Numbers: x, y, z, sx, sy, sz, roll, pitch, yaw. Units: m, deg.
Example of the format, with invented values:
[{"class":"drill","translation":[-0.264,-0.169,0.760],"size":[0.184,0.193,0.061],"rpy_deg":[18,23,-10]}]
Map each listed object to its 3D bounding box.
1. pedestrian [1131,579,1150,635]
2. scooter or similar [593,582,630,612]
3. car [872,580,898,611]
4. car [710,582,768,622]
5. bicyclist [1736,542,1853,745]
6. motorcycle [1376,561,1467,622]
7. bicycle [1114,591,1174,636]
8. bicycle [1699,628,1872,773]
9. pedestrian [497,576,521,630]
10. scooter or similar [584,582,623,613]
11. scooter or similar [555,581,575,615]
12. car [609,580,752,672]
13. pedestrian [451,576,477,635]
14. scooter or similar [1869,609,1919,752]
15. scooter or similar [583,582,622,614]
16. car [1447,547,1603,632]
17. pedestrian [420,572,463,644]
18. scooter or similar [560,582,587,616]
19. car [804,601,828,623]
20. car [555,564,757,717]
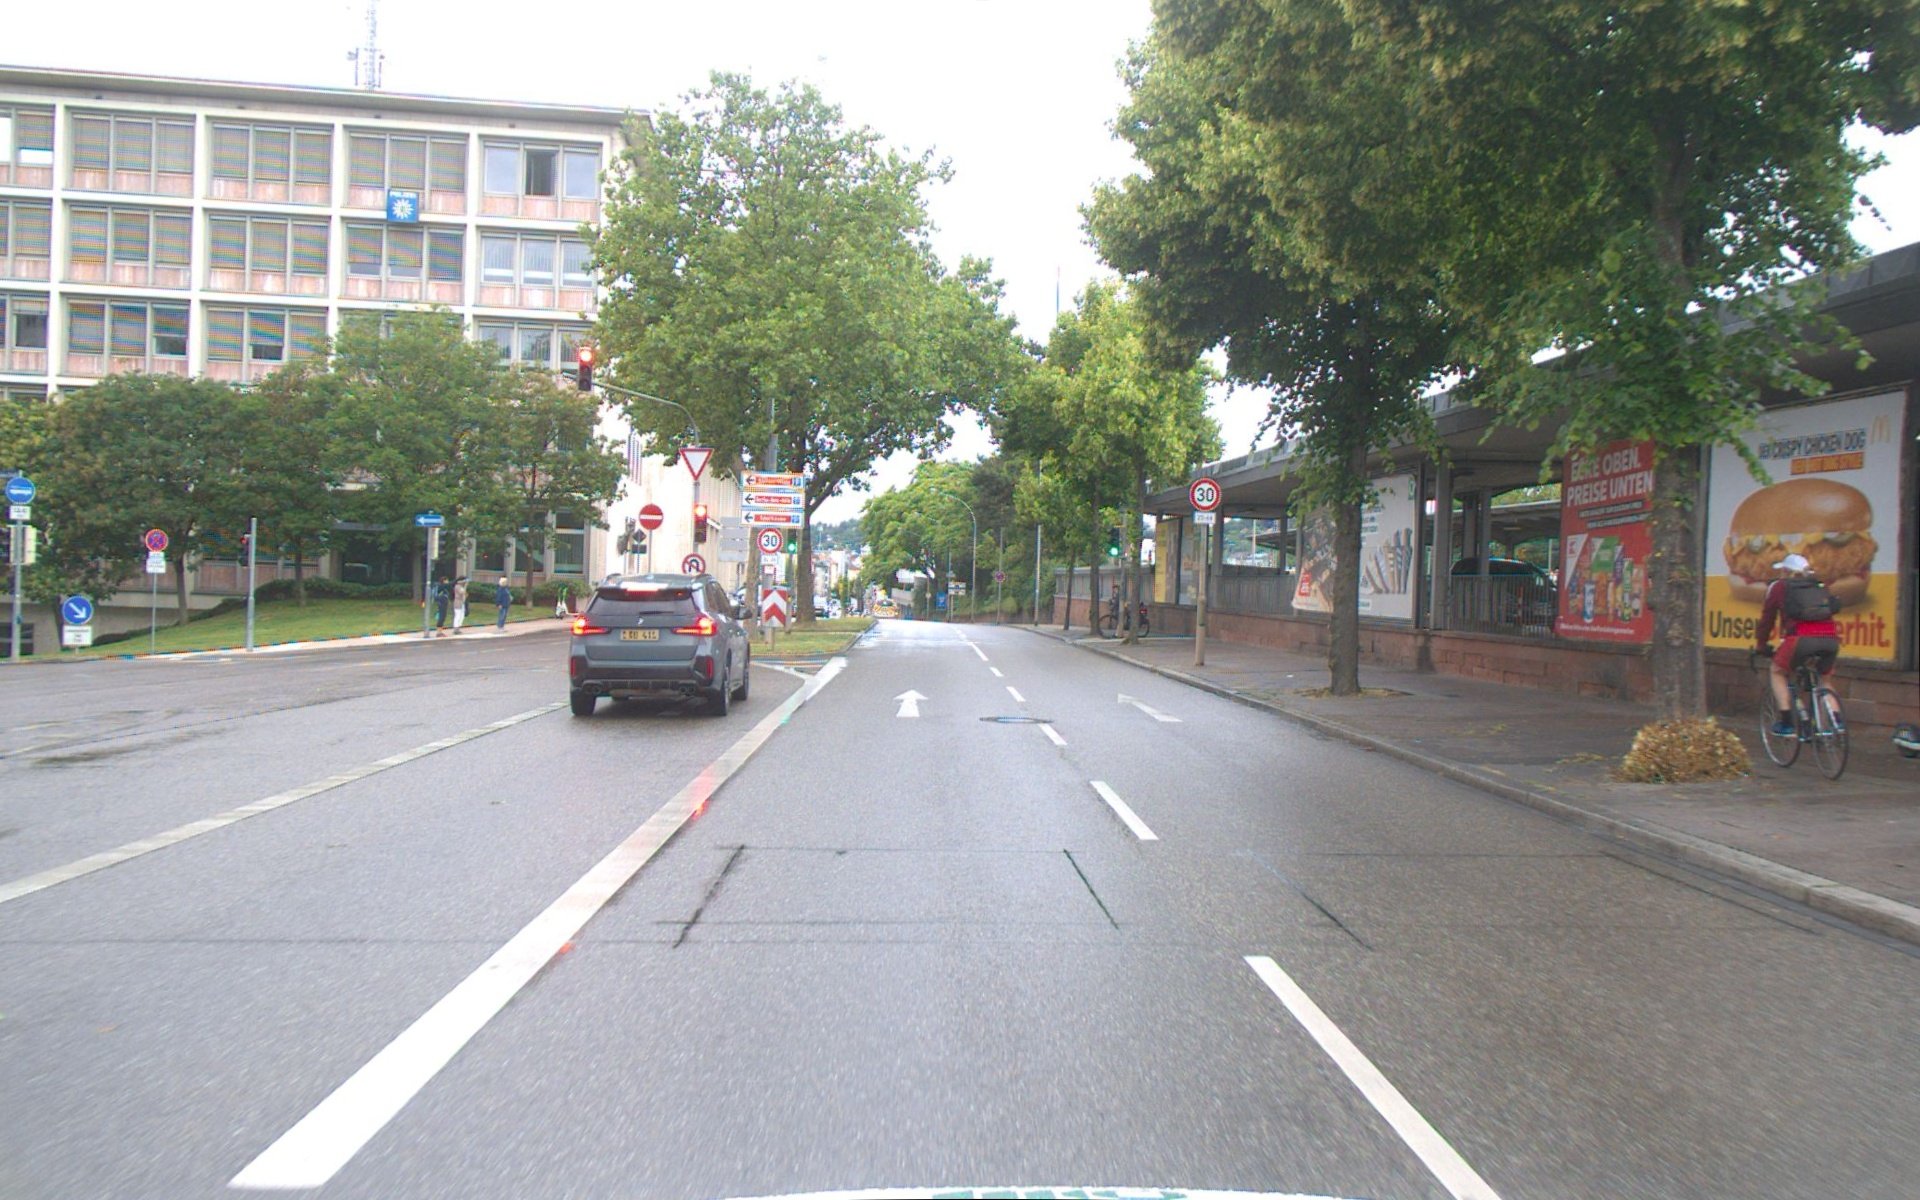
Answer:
[{"class":"pedestrian","translation":[5.206,0.203,47.706],"size":[0.448,1.596,0.392],"rpy_deg":[0,0,30]},{"class":"scooter or similar","translation":[-13.988,-0.126,66.386],"size":[0.596,1.184,1.525],"rpy_deg":[1,0,31]},{"class":"car","translation":[-6.733,-0.394,147.956],"size":[2.219,2.703,3.997],"rpy_deg":[0,1,-4]},{"class":"car","translation":[-9.477,0.116,71.210],"size":[1.804,1.534,4.102],"rpy_deg":[4,-1,0]},{"class":"bicyclist","translation":[6.615,0.332,13.133],"size":[0.523,1.565,0.694],"rpy_deg":[-1,0,-5]},{"class":"motorcycle","translation":[12.839,-0.245,46.045],"size":[2.294,1.638,0.693],"rpy_deg":[1,0,-3]},{"class":"bicycle","translation":[5.354,0.373,48.132],"size":[1.688,1.270,0.485],"rpy_deg":[1,1,30]},{"class":"bicycle","translation":[6.587,0.770,13.286],"size":[0.437,1.034,1.676],"rpy_deg":[-2,1,-4]},{"class":"pedestrian","translation":[-13.662,0.079,50.131],"size":[0.642,1.631,0.922],"rpy_deg":[0,0,-13]},{"class":"scooter or similar","translation":[-14.019,-0.107,65.060],"size":[0.596,1.213,1.525],"rpy_deg":[1,0,31]},{"class":"scooter or similar","translation":[-13.901,-0.078,58.196],"size":[0.479,1.188,1.500],"rpy_deg":[1,0,-6]},{"class":"car","translation":[-4.820,0.384,28.070],"size":[1.787,1.434,4.392],"rpy_deg":[0,0,-18]},{"class":"pedestrian","translation":[-14.797,0.155,49.383],"size":[0.641,1.740,0.795],"rpy_deg":[0,0,-10]},{"class":"scooter or similar","translation":[8.218,0.674,13.650],"size":[0.483,1.173,1.544],"rpy_deg":[1,0,-4]},{"class":"scooter or similar","translation":[-13.776,-0.069,63.754],"size":[0.596,1.213,1.525],"rpy_deg":[1,0,31]},{"class":"car","translation":[13.567,-0.252,40.030],"size":[1.954,1.904,4.595],"rpy_deg":[1,0,-3]},{"class":"pedestrian","translation":[-15.131,0.224,48.278],"size":[0.915,2.081,0.874],"rpy_deg":[0,0,5]},{"class":"scooter or similar","translation":[-13.965,-0.055,59.809],"size":[0.558,1.213,1.574],"rpy_deg":[1,0,1]},{"class":"car","translation":[-11.208,0.914,129.027],"size":[1.786,1.689,4.333],"rpy_deg":[1,0,-5]},{"class":"car","translation":[-3.602,0.429,20.354],"size":[1.925,1.668,4.356],"rpy_deg":[0,0,-4]}]
